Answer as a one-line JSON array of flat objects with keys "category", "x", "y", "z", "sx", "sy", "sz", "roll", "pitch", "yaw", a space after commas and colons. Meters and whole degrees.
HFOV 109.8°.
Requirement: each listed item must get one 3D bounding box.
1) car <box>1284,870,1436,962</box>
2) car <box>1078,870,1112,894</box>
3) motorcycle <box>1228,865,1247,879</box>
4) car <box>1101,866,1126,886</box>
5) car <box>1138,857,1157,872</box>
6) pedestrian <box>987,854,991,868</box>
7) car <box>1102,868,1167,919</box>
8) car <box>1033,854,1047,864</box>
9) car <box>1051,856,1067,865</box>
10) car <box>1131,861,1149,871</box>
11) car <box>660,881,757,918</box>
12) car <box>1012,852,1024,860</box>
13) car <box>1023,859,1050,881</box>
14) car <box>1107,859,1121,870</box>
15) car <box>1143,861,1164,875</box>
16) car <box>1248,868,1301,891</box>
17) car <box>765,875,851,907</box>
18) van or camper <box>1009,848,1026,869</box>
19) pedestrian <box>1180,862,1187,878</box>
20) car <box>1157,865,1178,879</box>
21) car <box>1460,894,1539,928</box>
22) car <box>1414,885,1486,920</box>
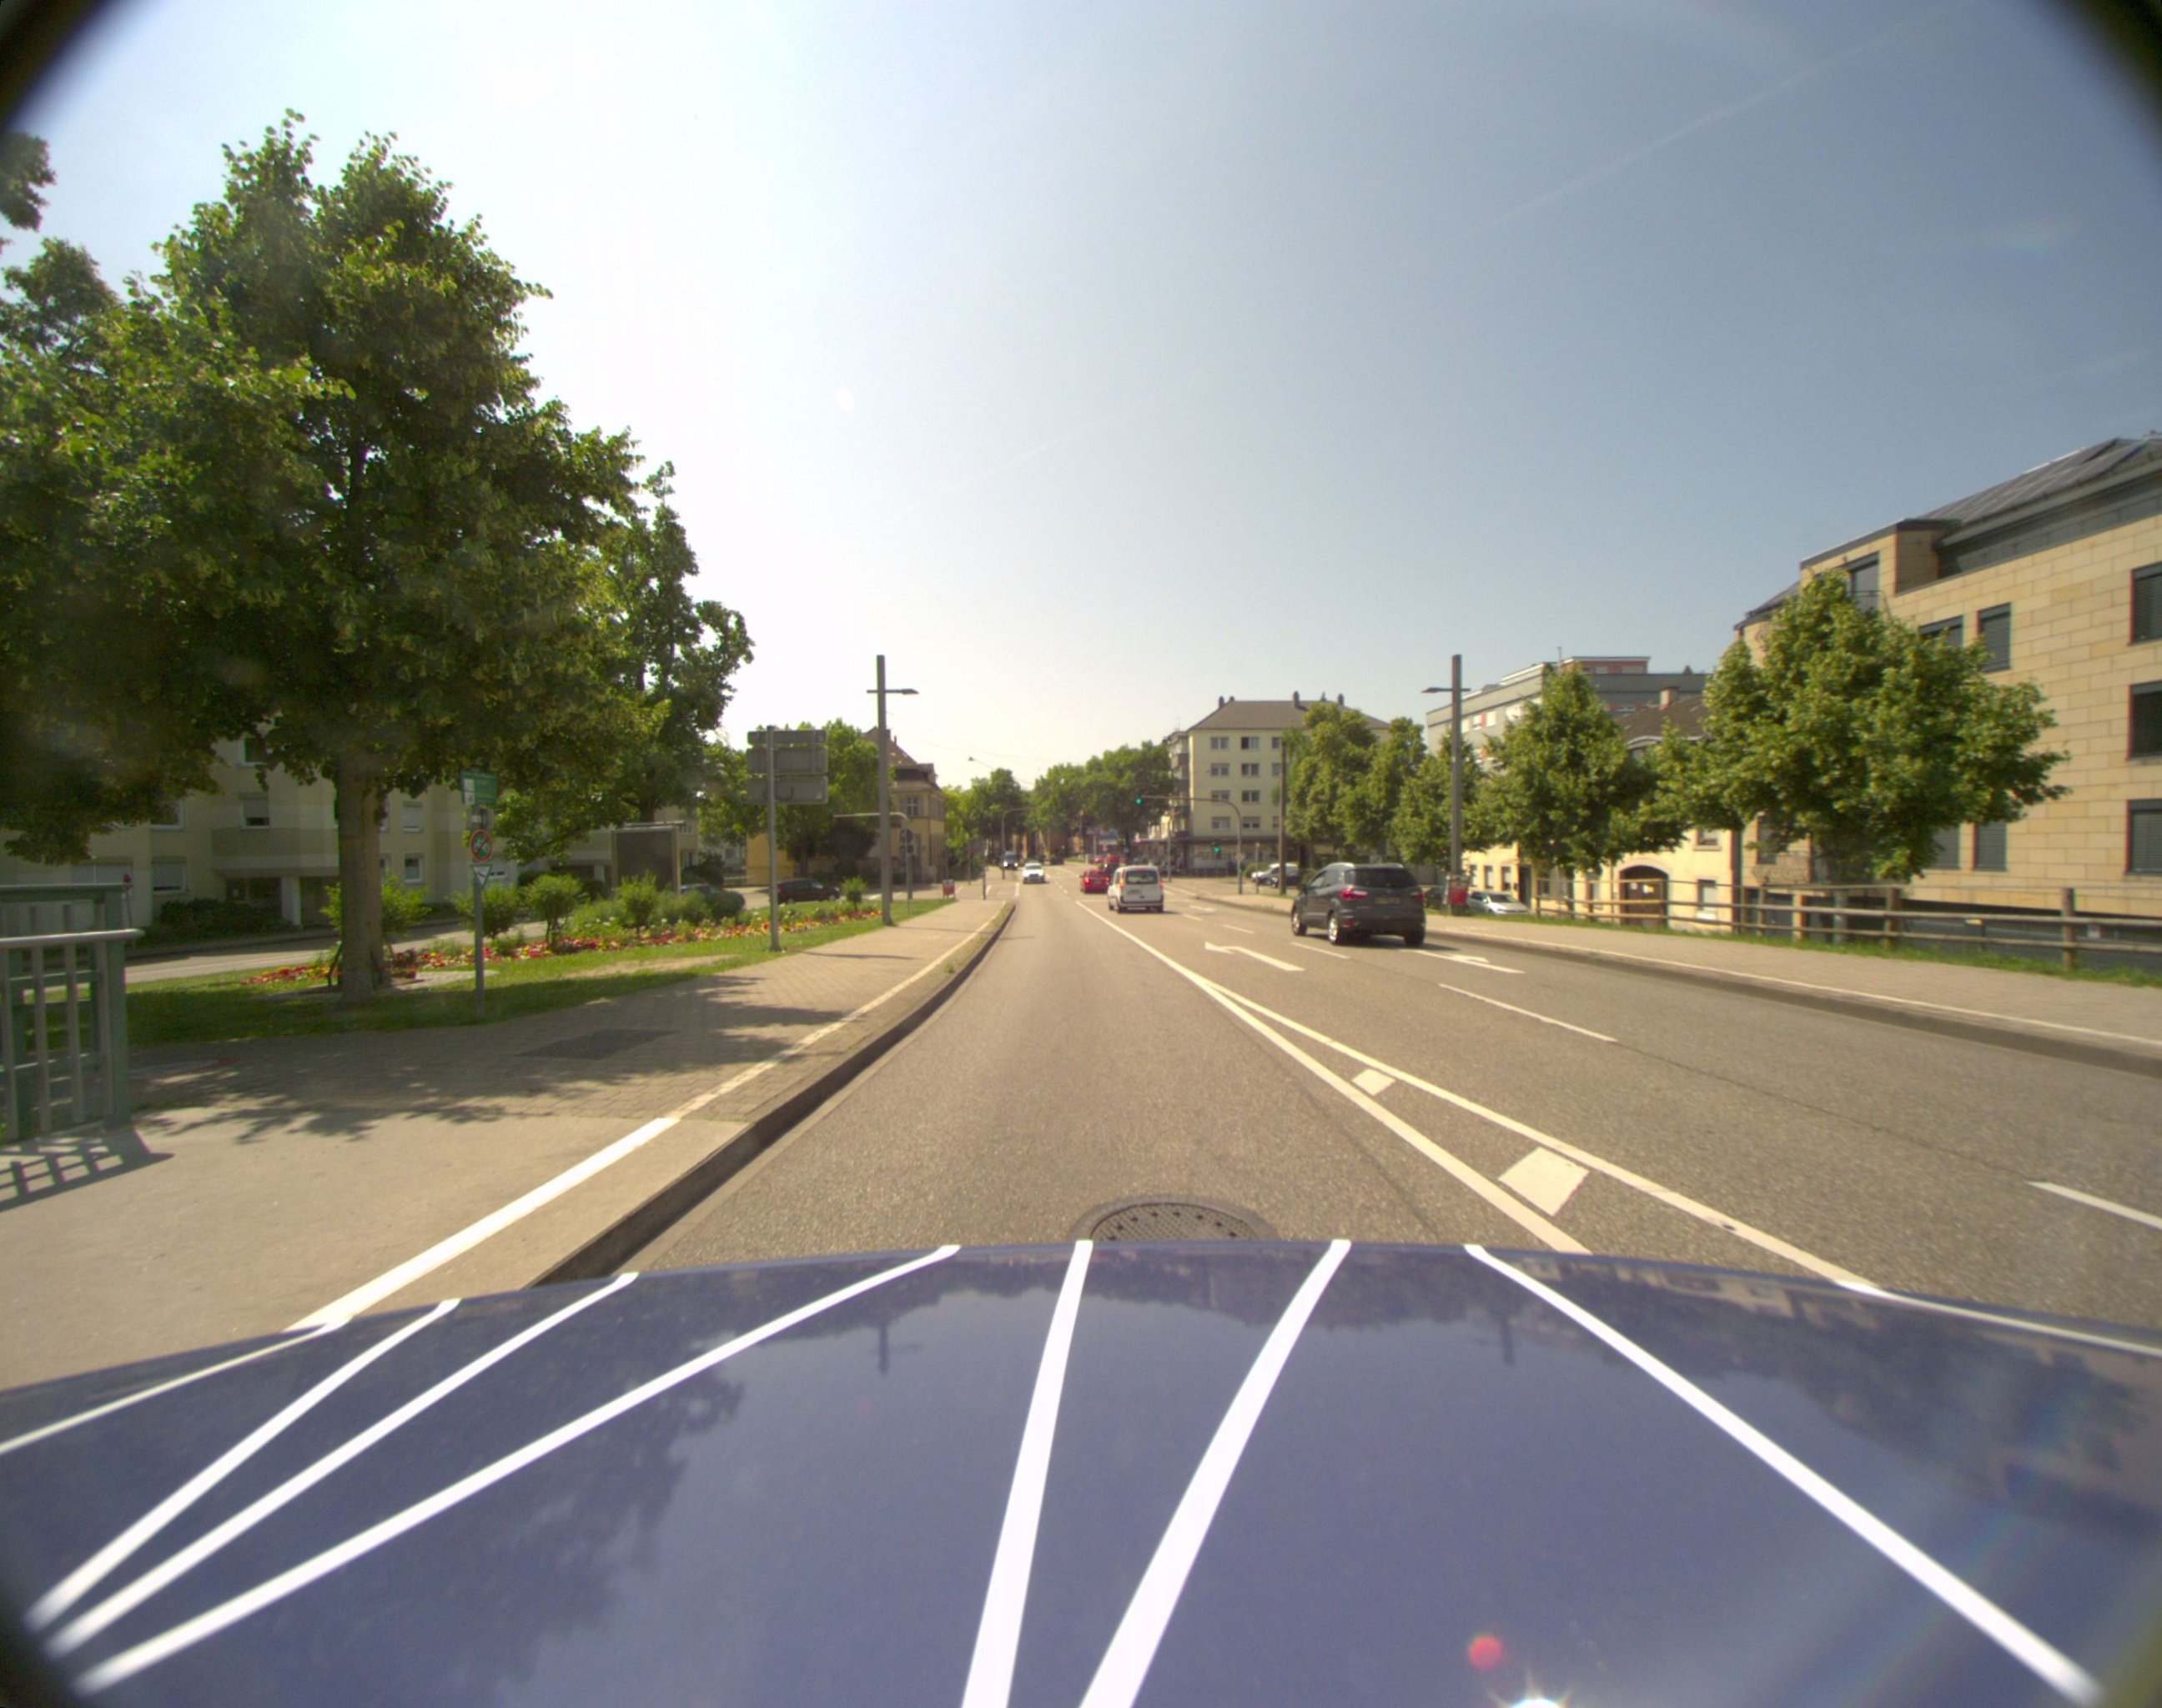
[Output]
[{"category": "car", "x": 5.748, "y": 1.196, "z": 16.183, "sx": 1.741, "sy": 1.631, "sz": 3.921, "roll": 1, "pitch": 0, "yaw": 0}, {"category": "car", "x": 0.862, "y": 1.809, "z": 49.064, "sx": 1.652, "sy": 1.455, "sz": 3.860, "roll": 1, "pitch": -2, "yaw": -7}, {"category": "motorcycle", "x": 16.608, "y": 1.886, "z": 80.713, "sx": 1.920, "sy": 1.413, "sz": 0.714, "roll": -1, "pitch": 3, "yaw": -4}, {"category": "car", "x": 2.835, "y": 1.911, "z": 67.564, "sx": 1.719, "sy": 1.477, "sz": 4.029, "roll": -4, "pitch": 2, "yaw": -4}, {"category": "car", "x": 8.488, "y": 1.280, "z": 97.019, "sx": 1.643, "sy": 1.828, "sz": 3.858, "roll": -1, "pitch": 1, "yaw": -5}, {"category": "pedestrian", "x": -12.374, "y": 0.932, "z": 102.273, "sx": 0.621, "sy": 1.907, "sz": 0.743, "roll": 0, "pitch": 1, "yaw": -5}, {"category": "car", "x": 2.060, "y": 1.545, "z": 30.508, "sx": 1.842, "sy": 1.849, "sz": 4.662, "roll": -1, "pitch": -2, "yaw": -5}, {"category": "car", "x": -7.253, "y": 0.949, "z": 135.444, "sx": 1.762, "sy": 1.552, "sz": 4.311, "roll": -1, "pitch": 2, "yaw": -13}, {"category": "car", "x": -3.515, "y": 1.072, "z": 120.145, "sx": 1.842, "sy": 1.391, "sz": 4.046, "roll": 0, "pitch": -1, "yaw": -10}, {"category": "car", "x": 7.925, "y": 1.587, "z": 102.504, "sx": 1.704, "sy": 1.279, "sz": 3.859, "roll": -1, "pitch": 1, "yaw": -5}, {"category": "car", "x": -21.507, "y": 2.586, "z": 44.103, "sx": 1.995, "sy": 1.691, "sz": 4.776, "roll": 1, "pitch": 2, "yaw": 25}, {"category": "car", "x": -12.829, "y": 0.405, "z": 155.556, "sx": 1.623, "sy": 1.447, "sz": 3.704, "roll": 4, "pitch": -1, "yaw": -17}, {"category": "car", "x": -3.872, "y": 1.336, "z": 65.032, "sx": 2.000, "sy": 1.740, "sz": 4.442, "roll": -2, "pitch": 1, "yaw": -6}, {"category": "car", "x": 4.750, "y": 1.539, "z": 108.803, "sx": 1.640, "sy": 1.459, "sz": 3.632, "roll": 0, "pitch": 1, "yaw": -4}, {"category": "car", "x": 8.698, "y": 1.678, "z": 91.140, "sx": 1.627, "sy": 1.560, "sz": 4.836, "roll": 0, "pitch": 1, "yaw": -5}, {"category": "car", "x": 15.877, "y": 2.100, "z": 62.478, "sx": 3.697, "sy": 1.725, "sz": 1.892, "roll": 2, "pitch": 1, "yaw": -6}, {"category": "car", "x": -17.392, "y": 2.321, "z": 48.580, "sx": 1.912, "sy": 1.623, "sz": 4.828, "roll": 0, "pitch": 2, "yaw": 44}, {"category": "van or camper", "x": -8.562, "y": 0.539, "z": 102.887, "sx": 2.165, "sy": 2.567, "sz": 5.841, "roll": -1, "pitch": 2, "yaw": -5}, {"category": "pedestrian", "x": 11.209, "y": 1.772, "z": 83.354, "sx": 0.629, "sy": 1.750, "sz": 0.742, "roll": 0, "pitch": 1, "yaw": -5}, {"category": "car", "x": 9.444, "y": 1.947, "z": 83.228, "sx": 1.587, "sy": 1.450, "sz": 3.937, "roll": 0, "pitch": 1, "yaw": -5}, {"category": "car", "x": 21.574, "y": 2.923, "z": 39.378, "sx": 1.780, "sy": 1.423, "sz": 4.431, "roll": -2, "pitch": -1, "yaw": 3}, {"category": "car", "x": 21.720, "y": 2.816, "z": 44.972, "sx": 1.819, "sy": 1.619, "sz": 5.286, "roll": 2, "pitch": 1, "yaw": 3}]
